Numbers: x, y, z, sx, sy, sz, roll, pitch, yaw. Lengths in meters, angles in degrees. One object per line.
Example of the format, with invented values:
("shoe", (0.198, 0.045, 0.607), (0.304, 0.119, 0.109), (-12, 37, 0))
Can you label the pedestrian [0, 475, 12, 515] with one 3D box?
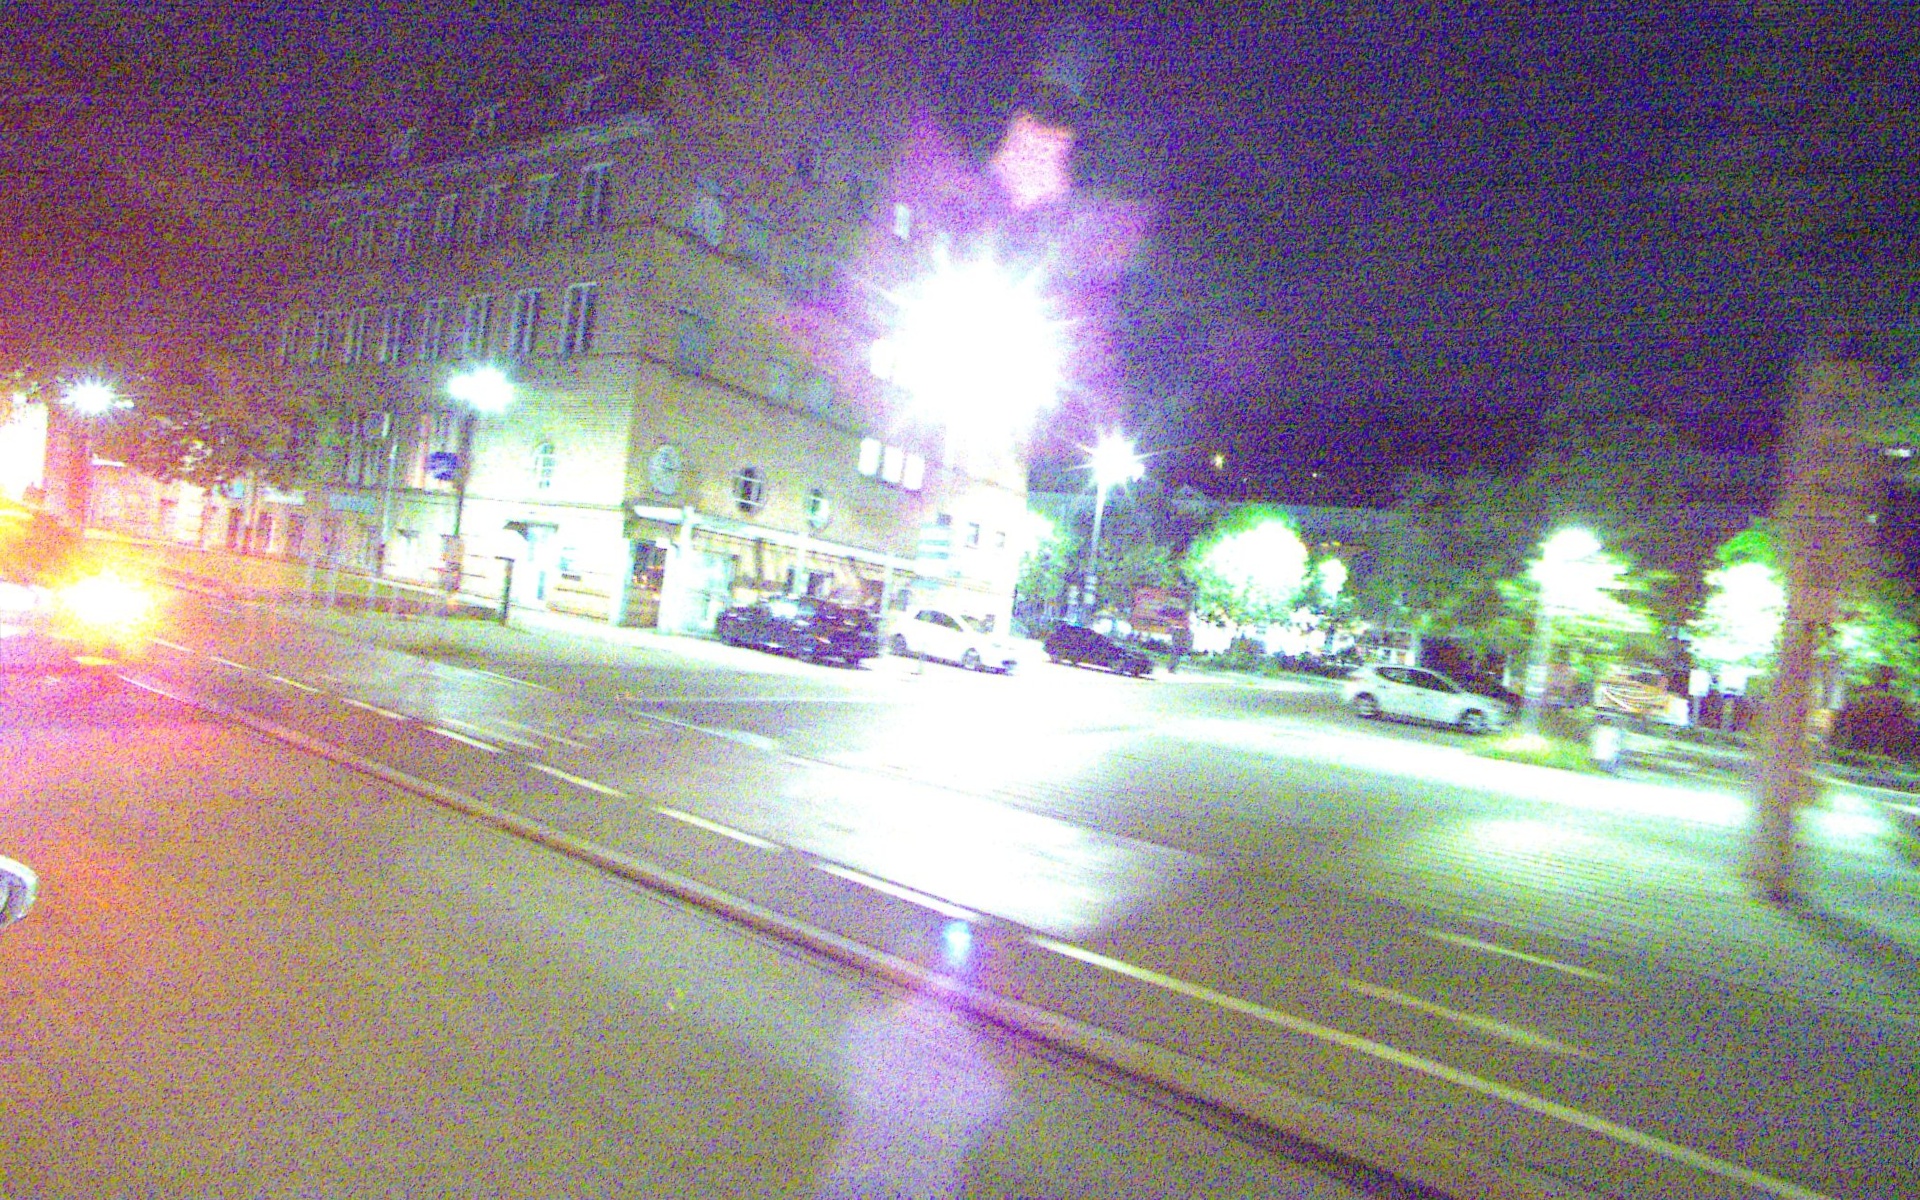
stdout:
("pedestrian", (-44.920, -4.942, 46.927), (0.892, 1.791, 0.739), (8, 1, 33))

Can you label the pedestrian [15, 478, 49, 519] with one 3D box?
("pedestrian", (-44.184, -4.838, 47.900), (0.892, 1.791, 0.901), (8, 1, 33))

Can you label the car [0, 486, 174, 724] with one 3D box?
("car", (-8.137, -0.207, 7.743), (4.653, 1.510, 1.808), (7, -3, 34))

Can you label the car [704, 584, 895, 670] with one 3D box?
("car", (-3.807, 0.604, 23.520), (4.409, 1.412, 1.514), (7, 0, 33))

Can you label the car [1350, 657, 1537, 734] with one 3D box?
("car", (14.548, 2.841, 30.369), (4.811, 1.531, 1.891), (7, 0, 32))

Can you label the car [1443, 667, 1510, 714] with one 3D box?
("car", (24.039, 4.197, 46.756), (2.046, 1.787, 4.540), (7, 0, 35))

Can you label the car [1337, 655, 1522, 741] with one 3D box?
("car", (12.198, 2.501, 26.236), (4.032, 1.552, 1.770), (7, 0, 33))

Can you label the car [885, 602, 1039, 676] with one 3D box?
("car", (0.024, 1.086, 28.622), (3.937, 1.552, 1.783), (7, 0, 35))

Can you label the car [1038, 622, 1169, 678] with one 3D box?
("car", (5.197, 1.810, 36.632), (4.171, 1.446, 1.996), (7, 0, 33))
